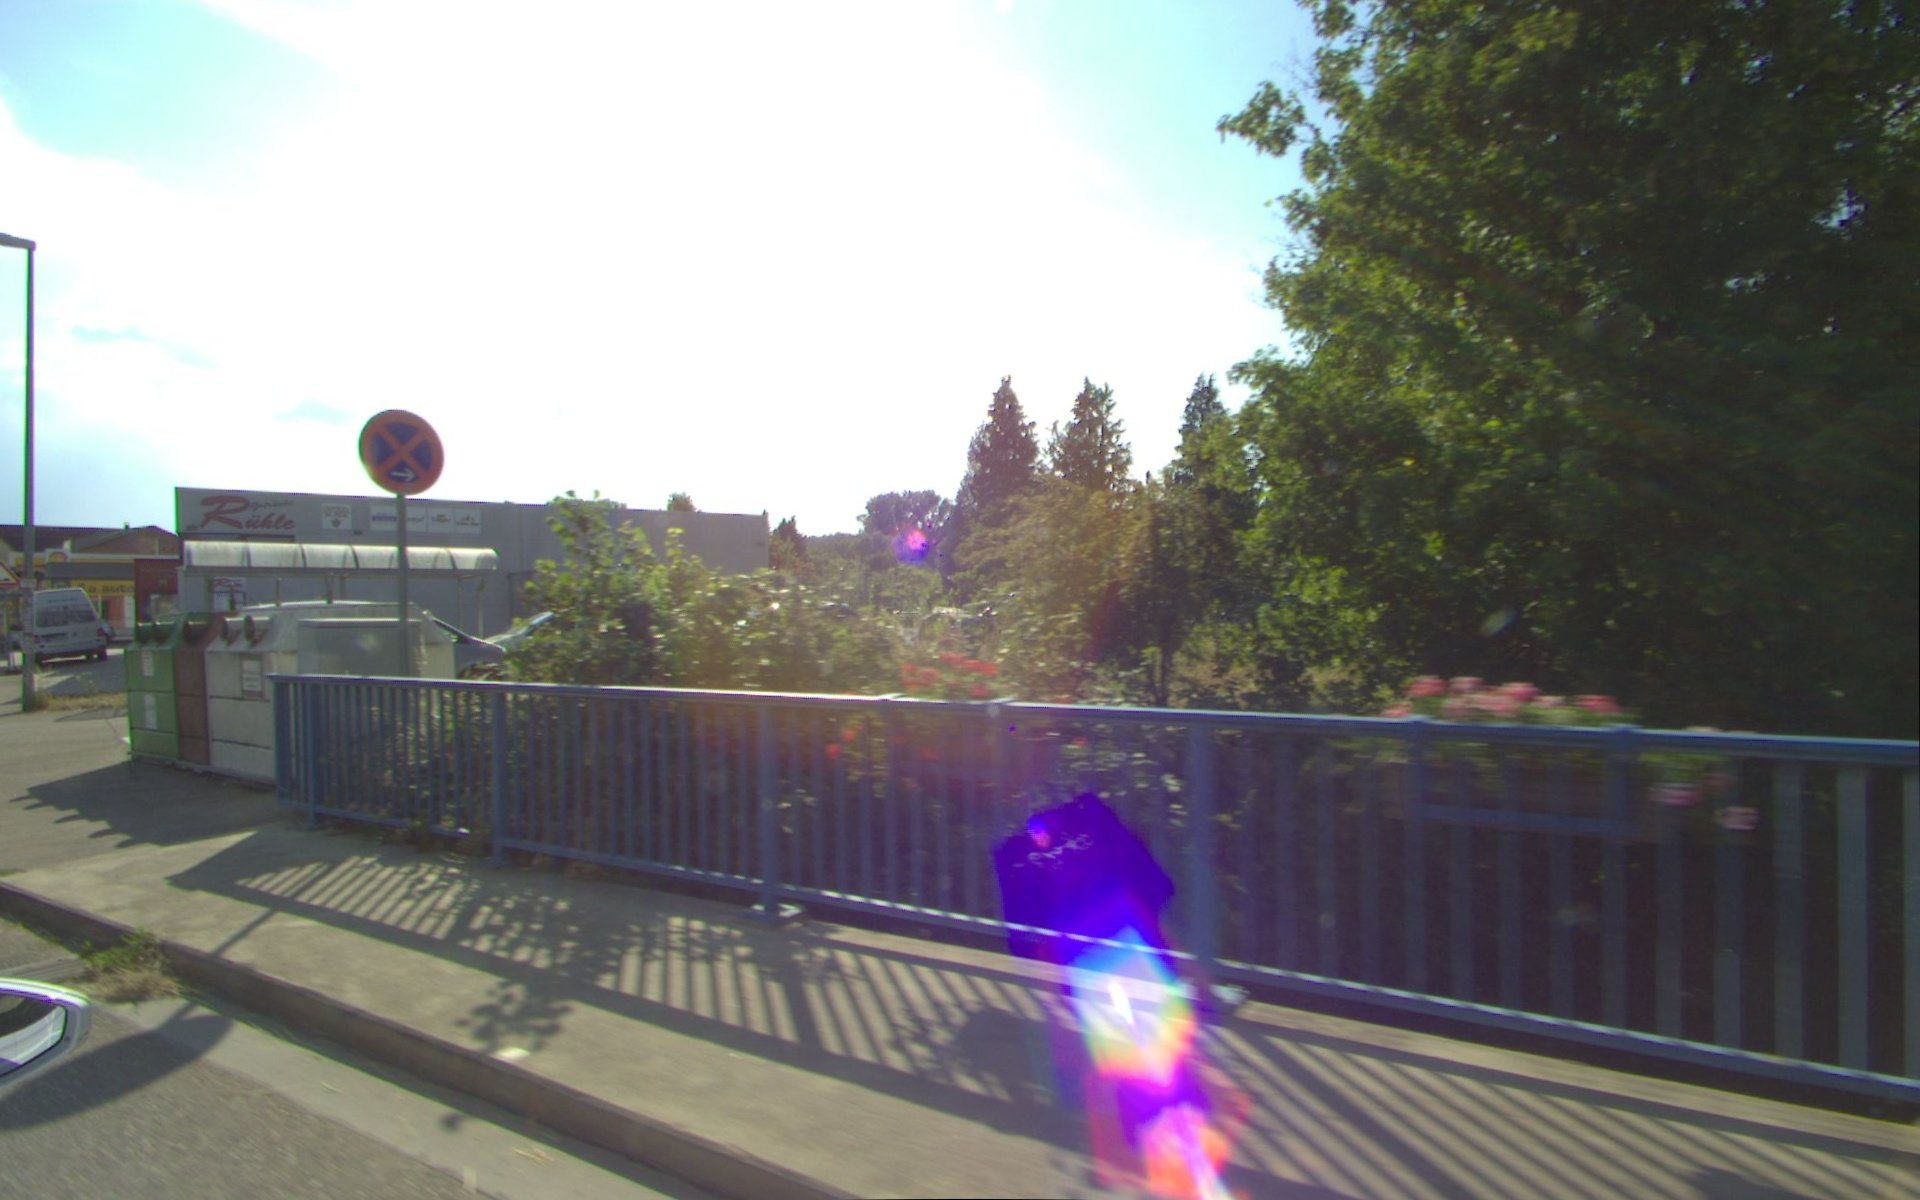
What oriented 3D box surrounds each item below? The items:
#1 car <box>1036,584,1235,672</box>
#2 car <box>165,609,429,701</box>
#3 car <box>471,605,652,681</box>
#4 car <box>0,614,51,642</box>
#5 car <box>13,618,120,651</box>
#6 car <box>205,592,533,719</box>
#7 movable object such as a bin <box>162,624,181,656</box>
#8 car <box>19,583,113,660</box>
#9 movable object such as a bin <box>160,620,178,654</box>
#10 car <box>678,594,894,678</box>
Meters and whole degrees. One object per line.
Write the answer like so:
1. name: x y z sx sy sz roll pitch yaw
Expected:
1. car: 3.636 0.565 21.207 3.911 1.675 1.667 -1 0 44
2. car: -12.584 0.974 19.134 4.030 1.435 1.612 -2 1 -40
3. car: -8.778 0.901 22.173 3.408 1.435 1.486 -2 1 -40
4. car: -55.476 1.616 58.143 3.962 1.629 1.980 0 0 -45
5. car: -45.596 1.739 51.156 1.512 1.552 3.962 0 0 45
6. car: -8.645 0.734 14.860 3.913 1.624 1.667 -1 -1 -44
7. movable object such as a bin: -24.485 1.232 31.087 0.425 0.979 0.427 -1 1 -36
8. car: -30.375 0.706 33.966 5.121 2.406 1.826 -1 0 43
9. movable object such as a bin: -24.902 1.153 31.536 0.425 1.056 0.486 -1 1 -36
10. car: -3.340 0.650 19.674 3.913 1.467 1.667 -1 -1 -44
